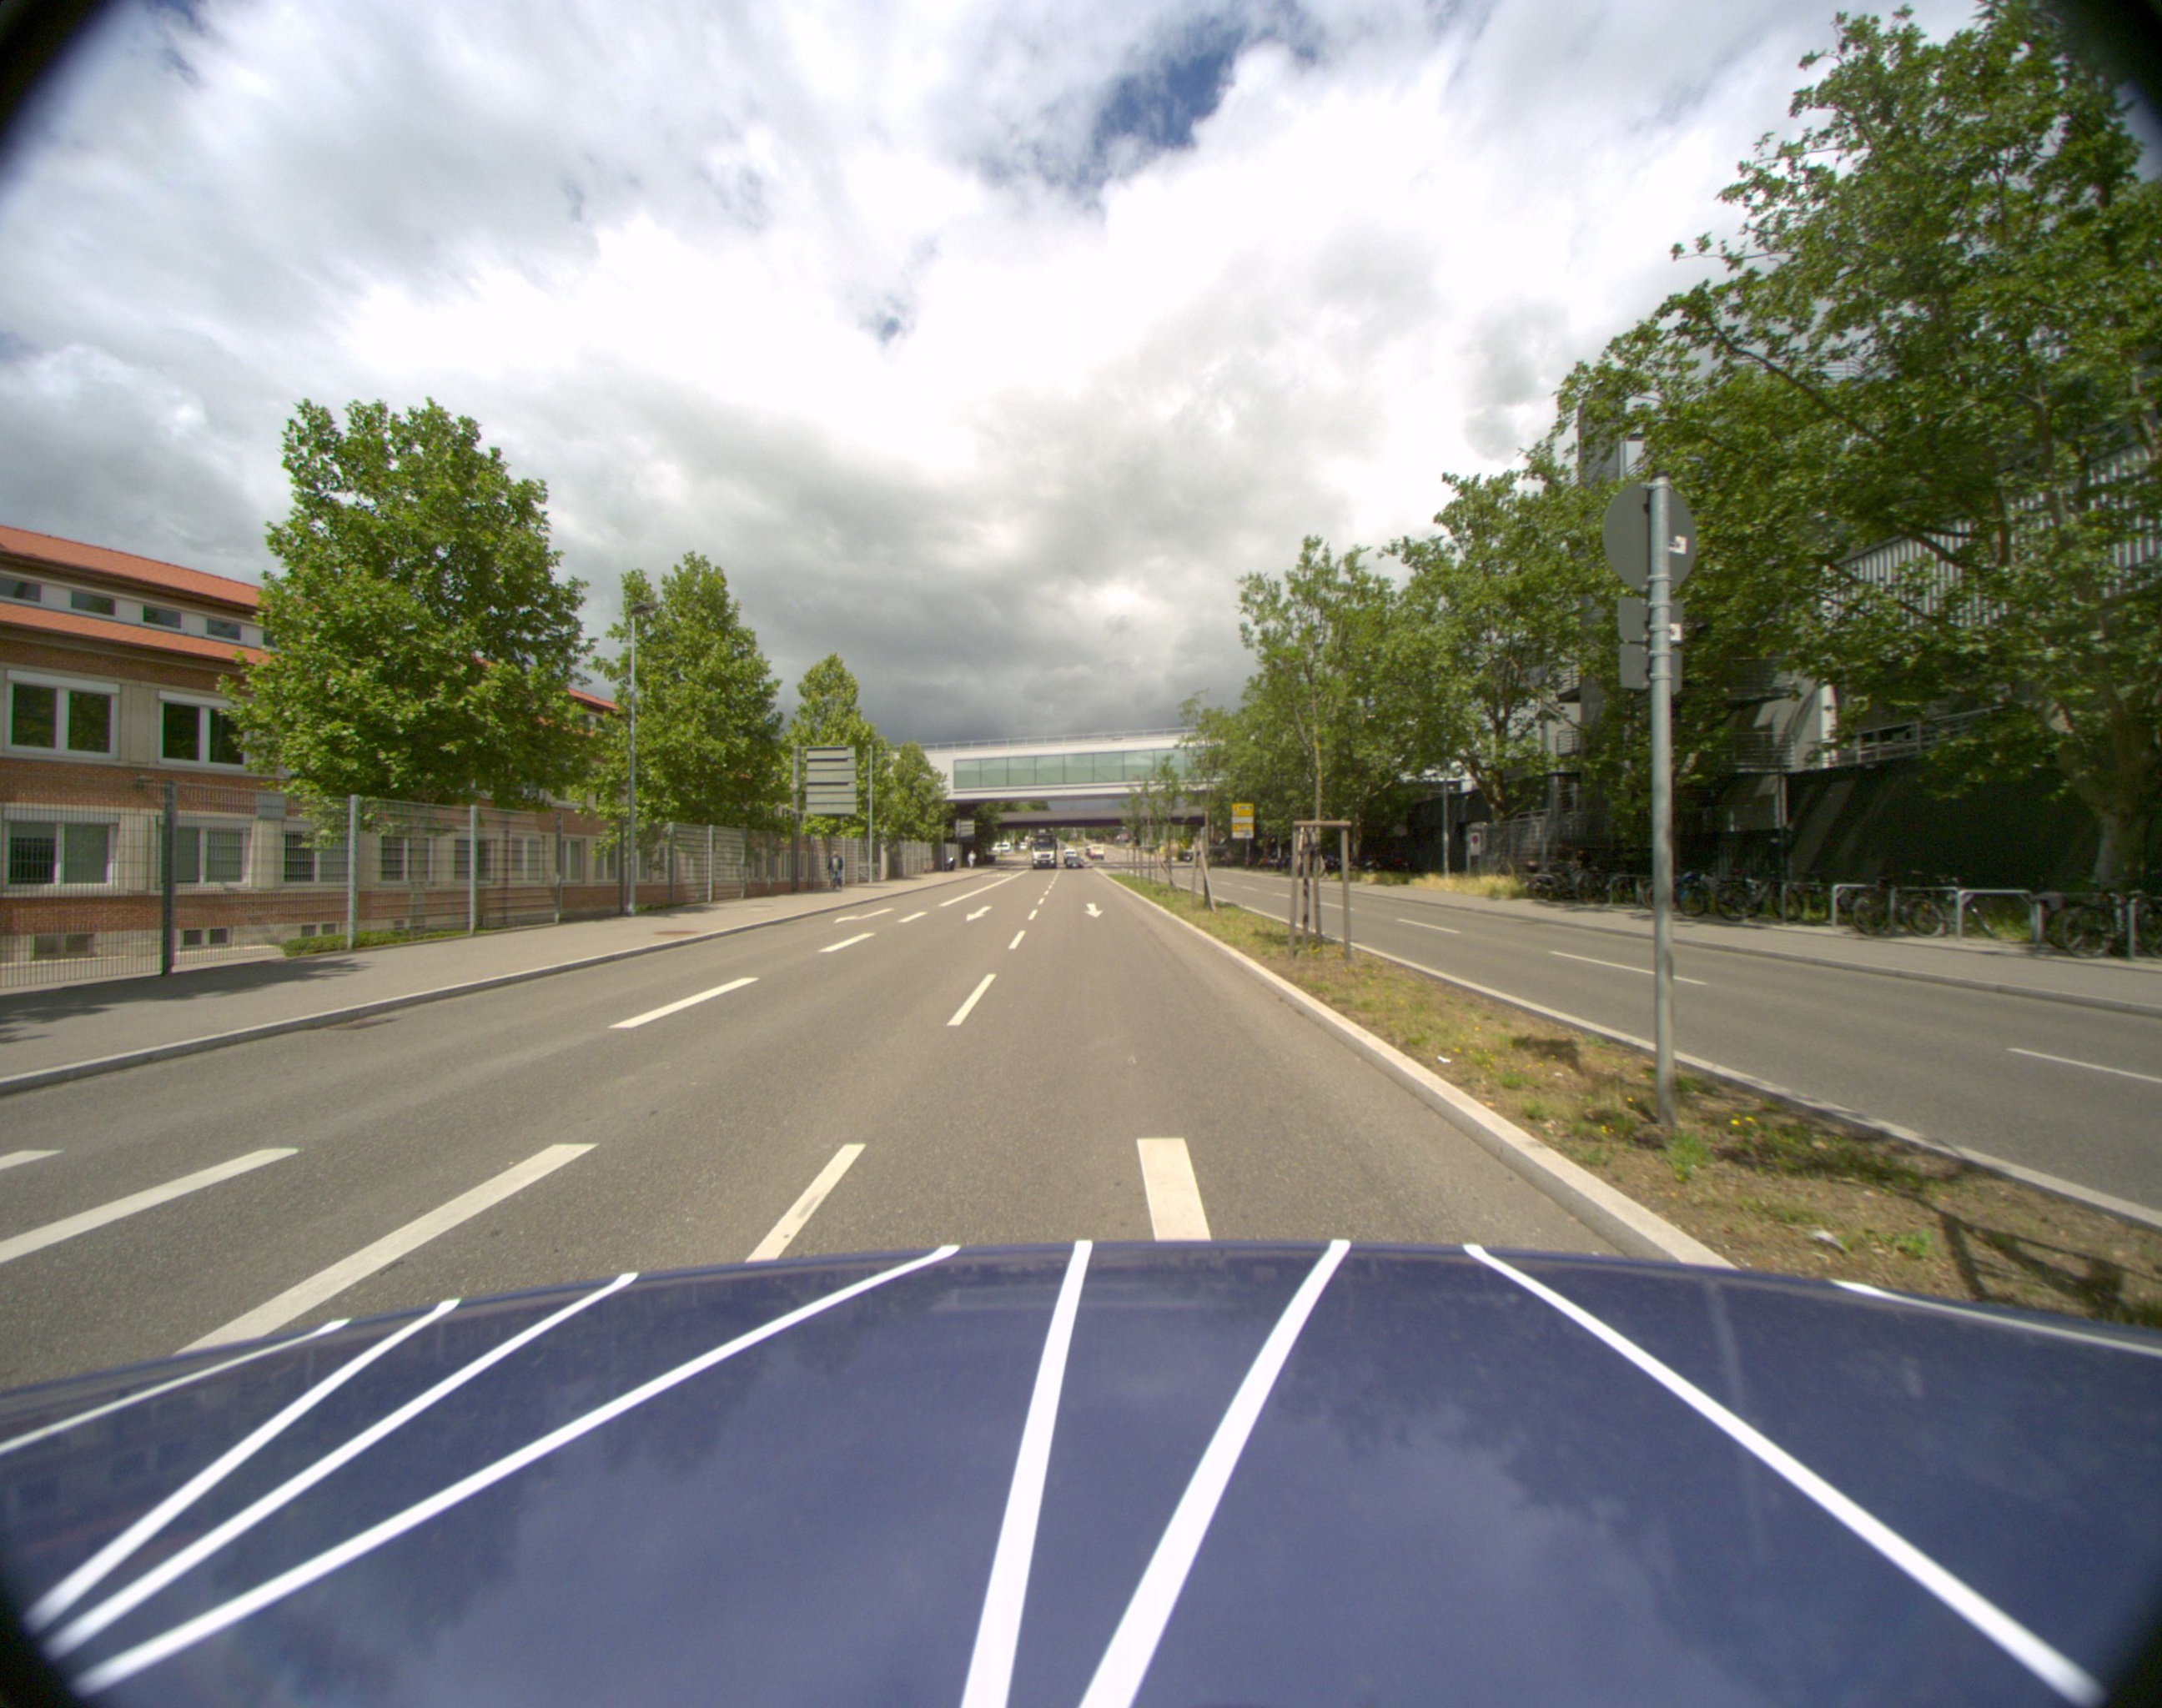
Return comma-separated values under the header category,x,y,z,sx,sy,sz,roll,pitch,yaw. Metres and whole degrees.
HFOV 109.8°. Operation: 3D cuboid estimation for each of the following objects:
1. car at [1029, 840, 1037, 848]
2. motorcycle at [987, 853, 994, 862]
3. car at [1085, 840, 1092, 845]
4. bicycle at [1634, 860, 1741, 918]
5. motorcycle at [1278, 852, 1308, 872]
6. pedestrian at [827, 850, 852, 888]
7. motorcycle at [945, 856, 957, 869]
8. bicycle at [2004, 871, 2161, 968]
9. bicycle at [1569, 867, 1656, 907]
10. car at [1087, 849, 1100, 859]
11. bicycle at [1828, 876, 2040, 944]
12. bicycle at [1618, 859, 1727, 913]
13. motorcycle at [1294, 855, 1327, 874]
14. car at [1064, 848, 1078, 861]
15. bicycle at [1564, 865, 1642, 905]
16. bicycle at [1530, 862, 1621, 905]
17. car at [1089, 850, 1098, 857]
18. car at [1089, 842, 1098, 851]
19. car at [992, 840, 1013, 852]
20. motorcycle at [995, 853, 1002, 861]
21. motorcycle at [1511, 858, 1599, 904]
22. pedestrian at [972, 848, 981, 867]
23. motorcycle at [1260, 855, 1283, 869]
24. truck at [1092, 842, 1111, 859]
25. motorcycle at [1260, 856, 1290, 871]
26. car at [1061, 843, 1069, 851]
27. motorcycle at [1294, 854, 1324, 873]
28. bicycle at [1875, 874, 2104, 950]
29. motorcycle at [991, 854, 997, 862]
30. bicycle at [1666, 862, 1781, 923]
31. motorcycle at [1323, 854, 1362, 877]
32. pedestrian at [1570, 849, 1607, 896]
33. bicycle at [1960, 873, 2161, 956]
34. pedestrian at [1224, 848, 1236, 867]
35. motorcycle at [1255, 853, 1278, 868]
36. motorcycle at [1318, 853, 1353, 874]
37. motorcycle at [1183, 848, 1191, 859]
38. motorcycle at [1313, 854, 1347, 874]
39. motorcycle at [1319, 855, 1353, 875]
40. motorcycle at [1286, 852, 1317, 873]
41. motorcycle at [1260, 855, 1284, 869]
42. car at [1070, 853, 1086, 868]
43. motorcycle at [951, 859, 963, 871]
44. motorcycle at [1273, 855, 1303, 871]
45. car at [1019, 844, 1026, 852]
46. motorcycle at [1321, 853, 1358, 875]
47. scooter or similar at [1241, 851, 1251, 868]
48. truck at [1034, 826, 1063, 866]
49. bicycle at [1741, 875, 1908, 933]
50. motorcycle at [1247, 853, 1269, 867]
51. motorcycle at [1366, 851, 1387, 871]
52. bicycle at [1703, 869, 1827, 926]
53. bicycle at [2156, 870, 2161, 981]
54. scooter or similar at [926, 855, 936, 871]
category,x,y,z,sx,sy,sz,roll,pitch,yaw
car,-12.728,-2.578,201.521,1.999,2.002,3.999,-1,0,-1
motorcycle,-12.199,0.511,101.980,0.679,1.148,2.112,0,1,0
car,2.001,-3.080,207.123,1.998,1.346,4.000,0,1,1
bicycle,14.345,0.811,18.004,1.923,1.275,0.806,-1,1,-2
motorcycle,15.143,0.566,54.192,1.934,1.283,0.894,-3,-1,20
pedestrian,-11.418,0.709,35.998,0.879,1.733,0.940,1,1,-1
motorcycle,-11.818,0.767,68.978,0.670,1.058,2.246,2,1,-1
bicycle,14.243,0.878,10.430,2.410,1.250,0.556,-1,1,2
bicycle,14.695,0.906,21.022,2.086,1.056,0.497,-1,1,-2
car,2.290,-0.018,135.193,1.910,1.621,4.291,-1,0,-4
bicycle,14.747,0.954,13.202,2.569,1.089,0.696,0,1,10
bicycle,14.907,0.791,19.184,2.139,1.275,0.806,-1,1,-2
motorcycle,14.844,0.672,49.213,1.881,1.172,0.815,-3,-1,9
car,-1.404,0.086,106.963,1.929,1.728,3.999,-1,0,-1
bicycle,14.747,0.869,21.491,1.929,1.068,0.422,-1,1,-2
bicycle,14.457,0.849,22.237,2.139,1.173,0.806,-1,1,-2
car,2.498,-0.142,151.764,1.713,1.445,4.479,-1,0,0
car,2.647,-1.599,161.941,1.813,1.770,4.977,-1,1,-1
car,-20.327,-2.155,196.769,5.204,3.019,2.079,-1,1,0
motorcycle,-11.746,0.411,108.243,0.679,1.076,2.180,0,1,-2
motorcycle,14.260,0.797,22.888,2.139,1.301,0.806,-1,1,-2
pedestrian,-10.950,0.359,79.343,0.791,1.877,1.097,0,1,-1
motorcycle,15.255,0.647,60.995,1.595,1.116,0.776,-3,-1,1
truck,3.326,-0.590,123.133,2.486,2.735,6.456,-1,0,-3
motorcycle,14.684,0.714,57.460,1.939,1.109,0.920,1,1,-12
car,-4.600,-2.024,218.245,1.999,2.002,3.999,-1,0,-1
motorcycle,15.128,0.623,50.450,1.880,1.172,0.816,-3,-1,15
bicycle,14.624,0.931,12.300,2.569,1.151,0.644,-1,1,10
motorcycle,-12.069,0.568,105.158,0.679,1.076,2.037,0,1,-2
bicycle,14.387,0.840,17.048,1.923,1.275,0.806,-1,1,-2
motorcycle,14.592,0.647,42.419,1.881,1.166,0.746,-3,-1,9
pedestrian,17.049,0.605,25.539,0.755,1.543,0.821,-1,1,10
bicycle,15.003,0.901,11.351,2.569,1.151,0.726,-1,1,10
pedestrian,12.890,0.308,65.808,0.769,1.603,0.813,-3,1,-1
motorcycle,15.219,0.514,62.328,1.596,1.116,0.775,-3,-1,-9
motorcycle,15.641,0.591,46.693,1.882,1.202,0.655,-3,-1,3
motorcycle,12.804,-0.082,91.754,0.641,1.191,2.257,-3,1,-1
motorcycle,15.651,0.621,47.852,1.882,1.172,0.698,-3,-1,3
motorcycle,15.306,0.651,45.645,1.880,1.078,0.795,-3,-1,15
motorcycle,15.093,0.578,51.925,1.934,1.336,0.866,-3,-1,20
motorcycle,14.978,0.655,59.622,1.595,1.027,0.776,-3,-1,1
car,-0.330,0.660,78.470,1.675,1.390,3.999,-1,0,-1
motorcycle,-11.770,1.023,72.113,0.709,1.058,2.510,2,1,-1
motorcycle,15.201,0.675,55.749,1.933,1.109,0.923,-3,-1,27
car,-16.578,-1.676,215.851,1.999,2.268,3.997,-1,1,-6
motorcycle,15.090,0.593,44.364,1.881,1.179,0.730,-3,0,8
scooter or similar,13.156,0.432,60.585,0.355,1.229,1.479,-2,2,-1
truck,-3.445,-0.835,82.646,2.787,3.981,10.085,-1,0,-1
bicycle,14.818,0.982,15.157,2.844,1.000,0.850,-1,1,-9
motorcycle,15.010,0.510,64.417,1.745,1.164,0.777,-3,-1,8
motorcycle,18.801,0.452,48.429,0.654,1.202,1.984,-3,-1,4
bicycle,14.421,0.908,16.062,1.923,1.116,0.806,-1,1,-2
bicycle,14.316,0.855,9.086,2.172,1.356,0.490,-1,1,2
scooter or similar,-12.190,0.756,61.780,0.492,1.287,1.336,0,1,-1
